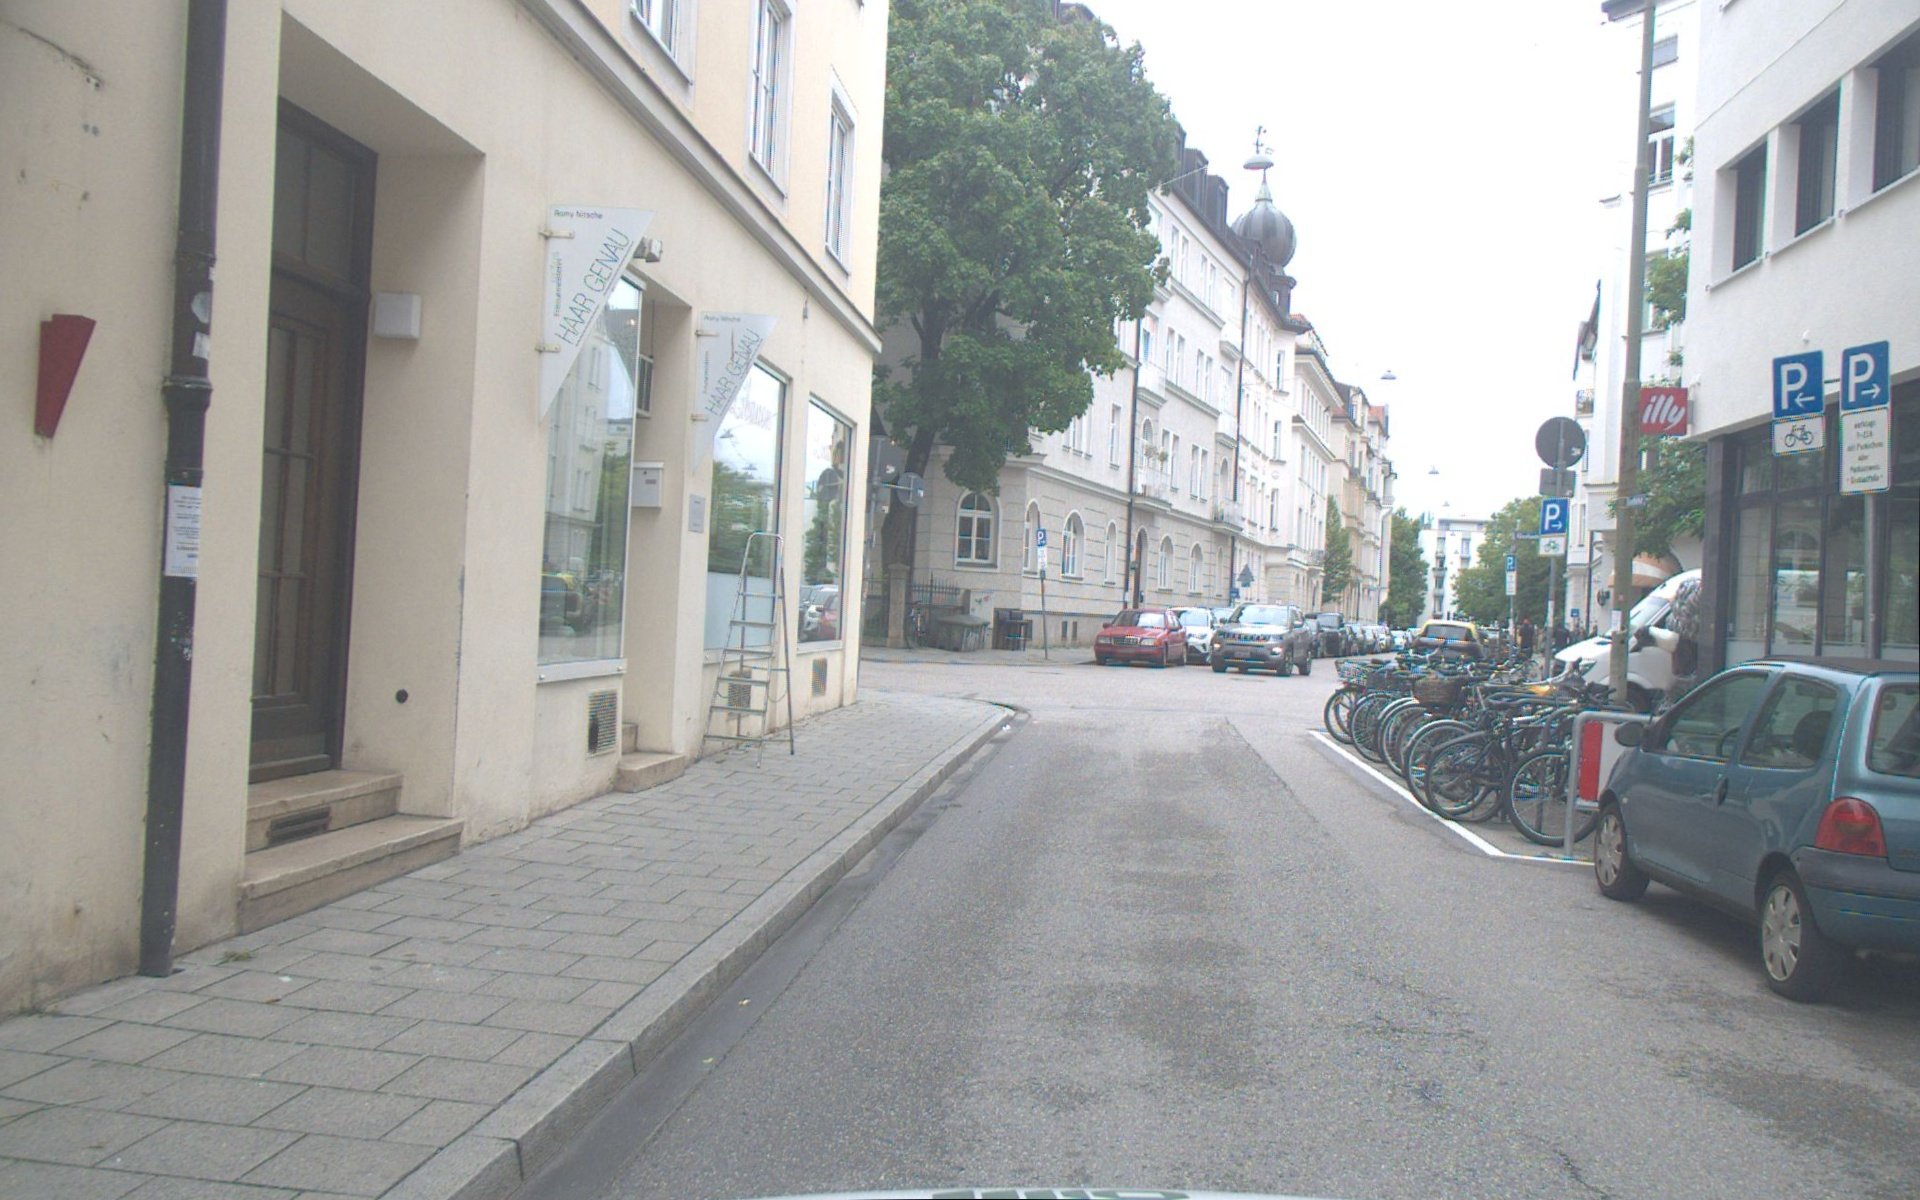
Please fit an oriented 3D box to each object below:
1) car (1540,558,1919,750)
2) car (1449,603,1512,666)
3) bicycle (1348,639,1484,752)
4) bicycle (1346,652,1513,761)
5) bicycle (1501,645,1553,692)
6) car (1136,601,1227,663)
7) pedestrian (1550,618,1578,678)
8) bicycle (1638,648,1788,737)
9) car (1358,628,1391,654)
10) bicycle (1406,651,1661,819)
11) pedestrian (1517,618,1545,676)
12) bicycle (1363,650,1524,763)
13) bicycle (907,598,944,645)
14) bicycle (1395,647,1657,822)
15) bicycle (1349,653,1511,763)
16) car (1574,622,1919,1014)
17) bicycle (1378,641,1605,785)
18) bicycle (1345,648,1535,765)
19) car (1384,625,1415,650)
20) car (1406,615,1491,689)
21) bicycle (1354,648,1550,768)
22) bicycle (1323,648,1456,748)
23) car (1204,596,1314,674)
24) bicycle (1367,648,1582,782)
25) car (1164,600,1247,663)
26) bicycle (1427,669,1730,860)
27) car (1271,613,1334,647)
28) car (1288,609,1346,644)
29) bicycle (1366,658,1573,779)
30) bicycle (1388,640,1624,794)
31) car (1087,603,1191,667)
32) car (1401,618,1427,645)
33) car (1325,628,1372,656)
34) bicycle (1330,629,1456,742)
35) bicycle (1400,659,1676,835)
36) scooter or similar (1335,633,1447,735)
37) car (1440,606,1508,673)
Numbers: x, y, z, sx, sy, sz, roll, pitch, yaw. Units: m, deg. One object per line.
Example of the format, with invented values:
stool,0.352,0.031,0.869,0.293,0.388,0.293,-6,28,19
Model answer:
car,12.545,0.812,26.520,5.768,2.636,2.061,3,1,11
car,18.172,1.204,57.665,1.783,1.956,4.184,5,0,20
bicycle,5.358,1.118,19.461,1.422,1.228,0.395,4,0,-2
bicycle,5.284,1.193,18.680,1.704,1.098,0.452,3,1,3
bicycle,13.406,1.610,39.132,0.528,1.016,1.754,0,0,-4
car,6.144,0.876,45.469,1.951,1.499,4.221,3,0,14
pedestrian,19.855,1.570,54.361,0.762,1.883,1.023,3,0,20
bicycle,11.034,1.349,24.278,1.861,1.147,0.592,3,0,11
car,24.765,2.447,98.767,1.697,1.444,4.002,3,0,16
bicycle,4.734,1.106,13.726,1.835,1.177,0.565,5,1,4
pedestrian,19.052,1.551,55.179,0.762,1.883,1.023,3,0,20
bicycle,5.215,1.145,17.884,1.579,1.098,0.378,3,1,3
bicycle,-0.835,0.515,40.482,0.483,1.070,1.829,3,2,11
bicycle,4.446,1.050,13.071,1.834,1.225,0.489,3,1,4
bicycle,5.186,1.185,18.274,1.639,1.098,0.336,3,1,3
car,4.397,0.915,8.240,1.547,1.489,3.554,3,0,5
bicycle,4.824,1.014,15.086,1.854,1.190,0.566,3,0,3
bicycle,5.055,1.115,17.458,1.835,1.098,0.408,3,1,3
car,31.554,2.673,118.660,1.952,1.601,4.002,3,0,17
car,12.830,1.334,43.285,1.783,1.664,4.289,5,0,20
bicycle,5.044,1.104,17.018,1.835,1.098,0.402,3,1,3
bicycle,5.170,1.174,19.935,1.422,1.088,0.463,4,0,-2
car,7.170,0.816,39.316,1.916,1.635,4.310,3,0,18
bicycle,4.842,1.077,15.630,1.835,1.114,0.440,3,1,3
car,7.556,0.955,50.570,1.902,1.731,4.002,4,0,16
bicycle,4.285,1.130,11.536,1.835,1.098,0.489,5,1,4
car,13.819,1.219,66.650,1.867,1.243,4.000,3,0,20
car,15.363,1.159,71.056,1.867,1.352,4.000,3,0,20
bicycle,5.007,1.158,16.319,1.835,1.070,0.564,3,-2,3
bicycle,4.749,1.005,14.462,1.834,1.225,0.580,2,0,4
car,4.508,0.857,41.066,1.694,1.402,4.228,3,0,18
car,37.408,2.579,136.095,1.807,2.048,4.002,3,0,18
car,19.299,2.079,82.099,1.867,1.243,4.001,3,0,19
bicycle,5.463,1.075,20.921,1.426,1.307,0.445,4,0,7
bicycle,4.362,1.101,12.556,1.835,1.127,0.489,5,1,4
scooter or similar,5.645,1.090,21.703,1.324,1.231,0.418,3,0,8
car,16.545,1.255,53.162,1.783,1.903,4.289,5,0,20
